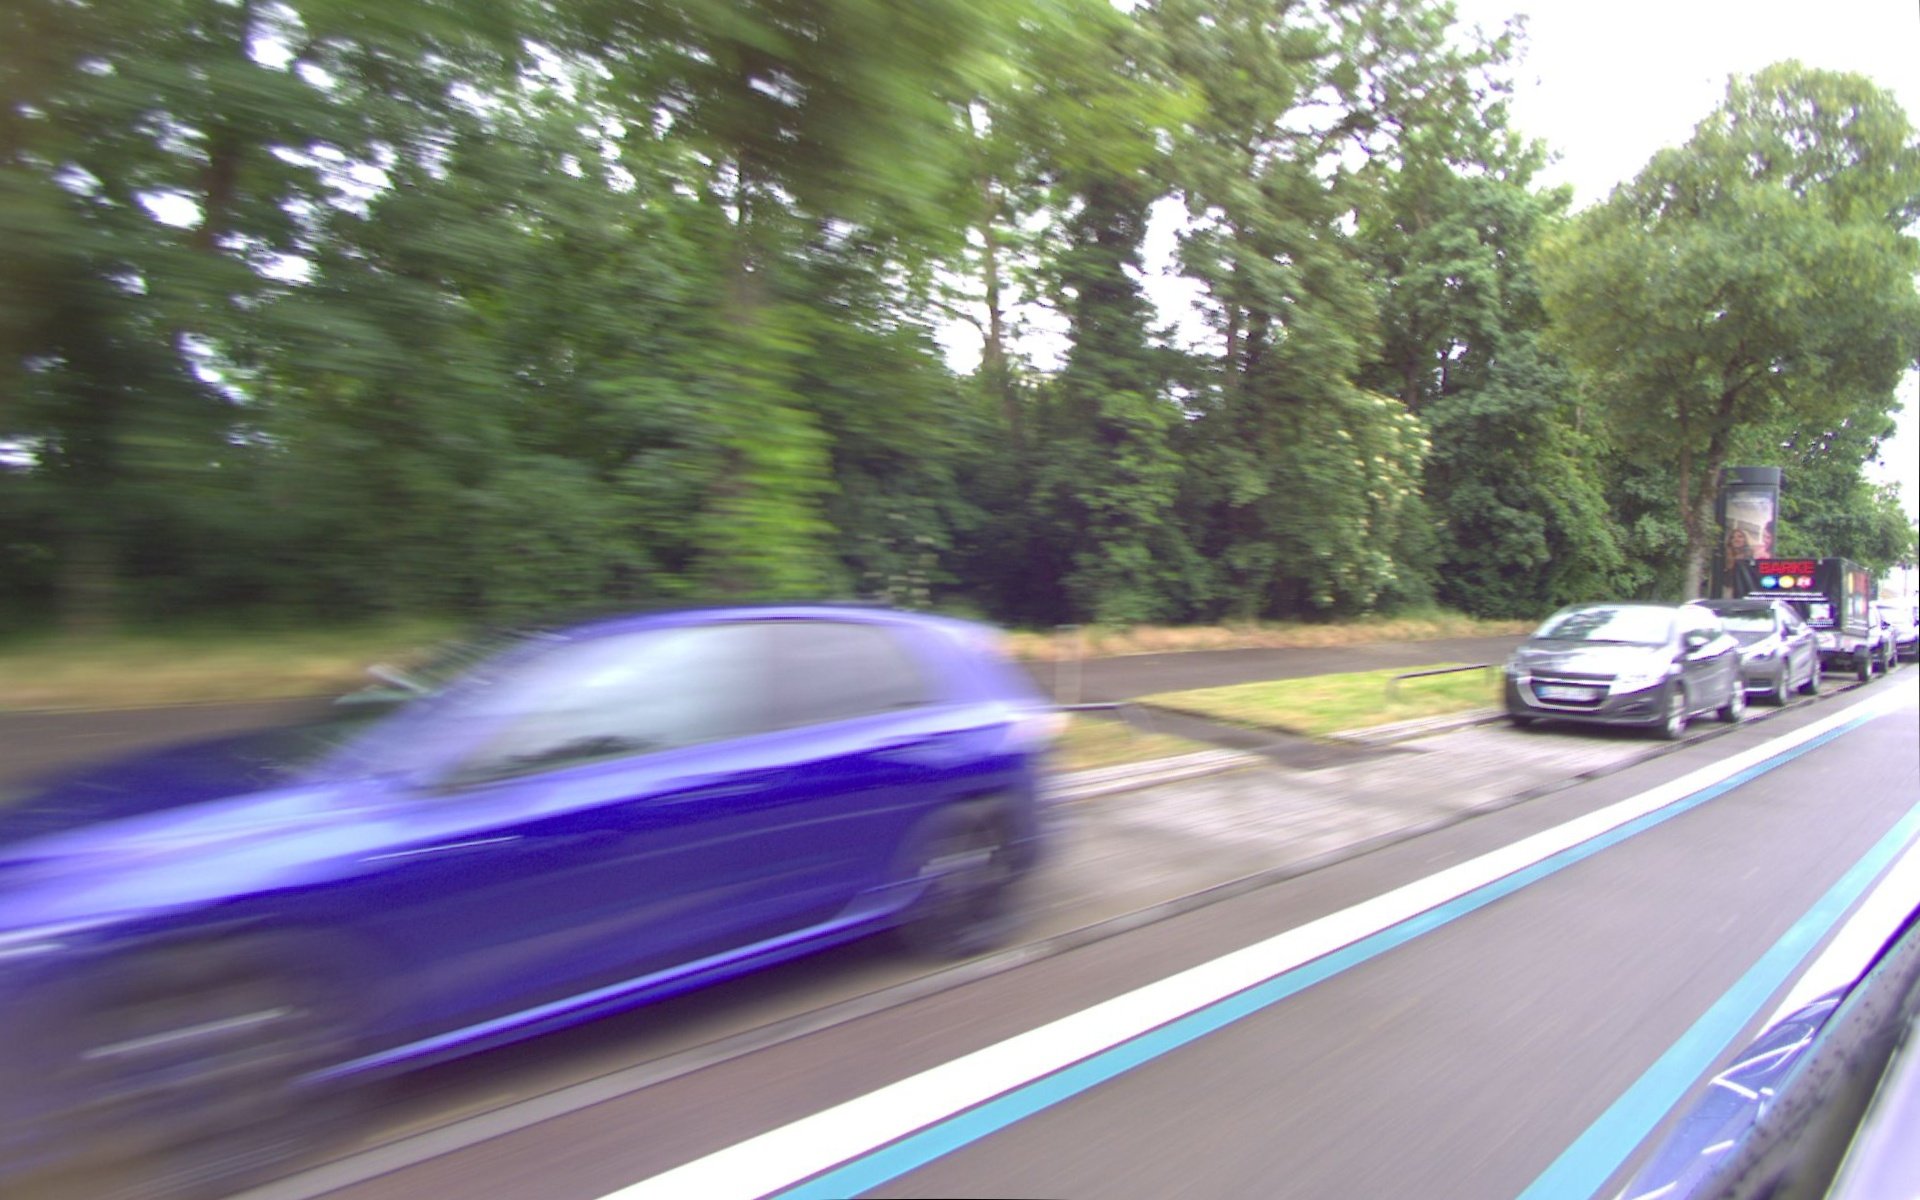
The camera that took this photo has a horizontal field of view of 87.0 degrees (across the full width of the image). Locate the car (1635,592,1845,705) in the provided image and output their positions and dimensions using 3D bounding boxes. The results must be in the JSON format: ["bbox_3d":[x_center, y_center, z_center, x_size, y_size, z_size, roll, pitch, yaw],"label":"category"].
[{"bbox_3d":[12.171,0.629,15.692,4.352,1.468,1.798,-1,1,-42],"label":"car"}]

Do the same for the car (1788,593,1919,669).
[{"bbox_3d":[19.732,0.626,22.293,4.130,1.504,1.823,-1,-1,-44],"label":"car"}]

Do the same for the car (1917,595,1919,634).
[{"bbox_3d":[39.379,0.540,40.053,4.670,1.473,1.858,-1,1,-43],"label":"car"}]

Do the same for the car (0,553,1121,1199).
[{"bbox_3d":[-1.399,0.639,3.886,4.243,1.500,1.684,0,0,-41],"label":"car"}]

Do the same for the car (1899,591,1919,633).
[{"bbox_3d":[35.314,0.416,36.760,3.615,1.478,1.561,-1,1,-44],"label":"car"}]

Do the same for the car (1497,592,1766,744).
[{"bbox_3d":[7.994,0.664,11.915,3.929,1.489,1.618,-1,0,-40],"label":"car"}]

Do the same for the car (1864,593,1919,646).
[{"bbox_3d":[28.298,0.538,30.292,1.618,1.485,3.935,-1,0,45],"label":"car"}]

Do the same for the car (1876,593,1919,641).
[{"bbox_3d":[31.256,0.522,32.967,3.832,1.484,1.661,-1,-1,-42],"label":"car"}]

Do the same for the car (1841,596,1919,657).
[{"bbox_3d":[24.029,0.632,25.973,4.373,1.411,1.752,-1,0,-44],"label":"car"}]

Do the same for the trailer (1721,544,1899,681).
[{"bbox_3d":[16.169,0.180,19.165,4.685,2.276,1.909,0,1,-42],"label":"trailer"}]
